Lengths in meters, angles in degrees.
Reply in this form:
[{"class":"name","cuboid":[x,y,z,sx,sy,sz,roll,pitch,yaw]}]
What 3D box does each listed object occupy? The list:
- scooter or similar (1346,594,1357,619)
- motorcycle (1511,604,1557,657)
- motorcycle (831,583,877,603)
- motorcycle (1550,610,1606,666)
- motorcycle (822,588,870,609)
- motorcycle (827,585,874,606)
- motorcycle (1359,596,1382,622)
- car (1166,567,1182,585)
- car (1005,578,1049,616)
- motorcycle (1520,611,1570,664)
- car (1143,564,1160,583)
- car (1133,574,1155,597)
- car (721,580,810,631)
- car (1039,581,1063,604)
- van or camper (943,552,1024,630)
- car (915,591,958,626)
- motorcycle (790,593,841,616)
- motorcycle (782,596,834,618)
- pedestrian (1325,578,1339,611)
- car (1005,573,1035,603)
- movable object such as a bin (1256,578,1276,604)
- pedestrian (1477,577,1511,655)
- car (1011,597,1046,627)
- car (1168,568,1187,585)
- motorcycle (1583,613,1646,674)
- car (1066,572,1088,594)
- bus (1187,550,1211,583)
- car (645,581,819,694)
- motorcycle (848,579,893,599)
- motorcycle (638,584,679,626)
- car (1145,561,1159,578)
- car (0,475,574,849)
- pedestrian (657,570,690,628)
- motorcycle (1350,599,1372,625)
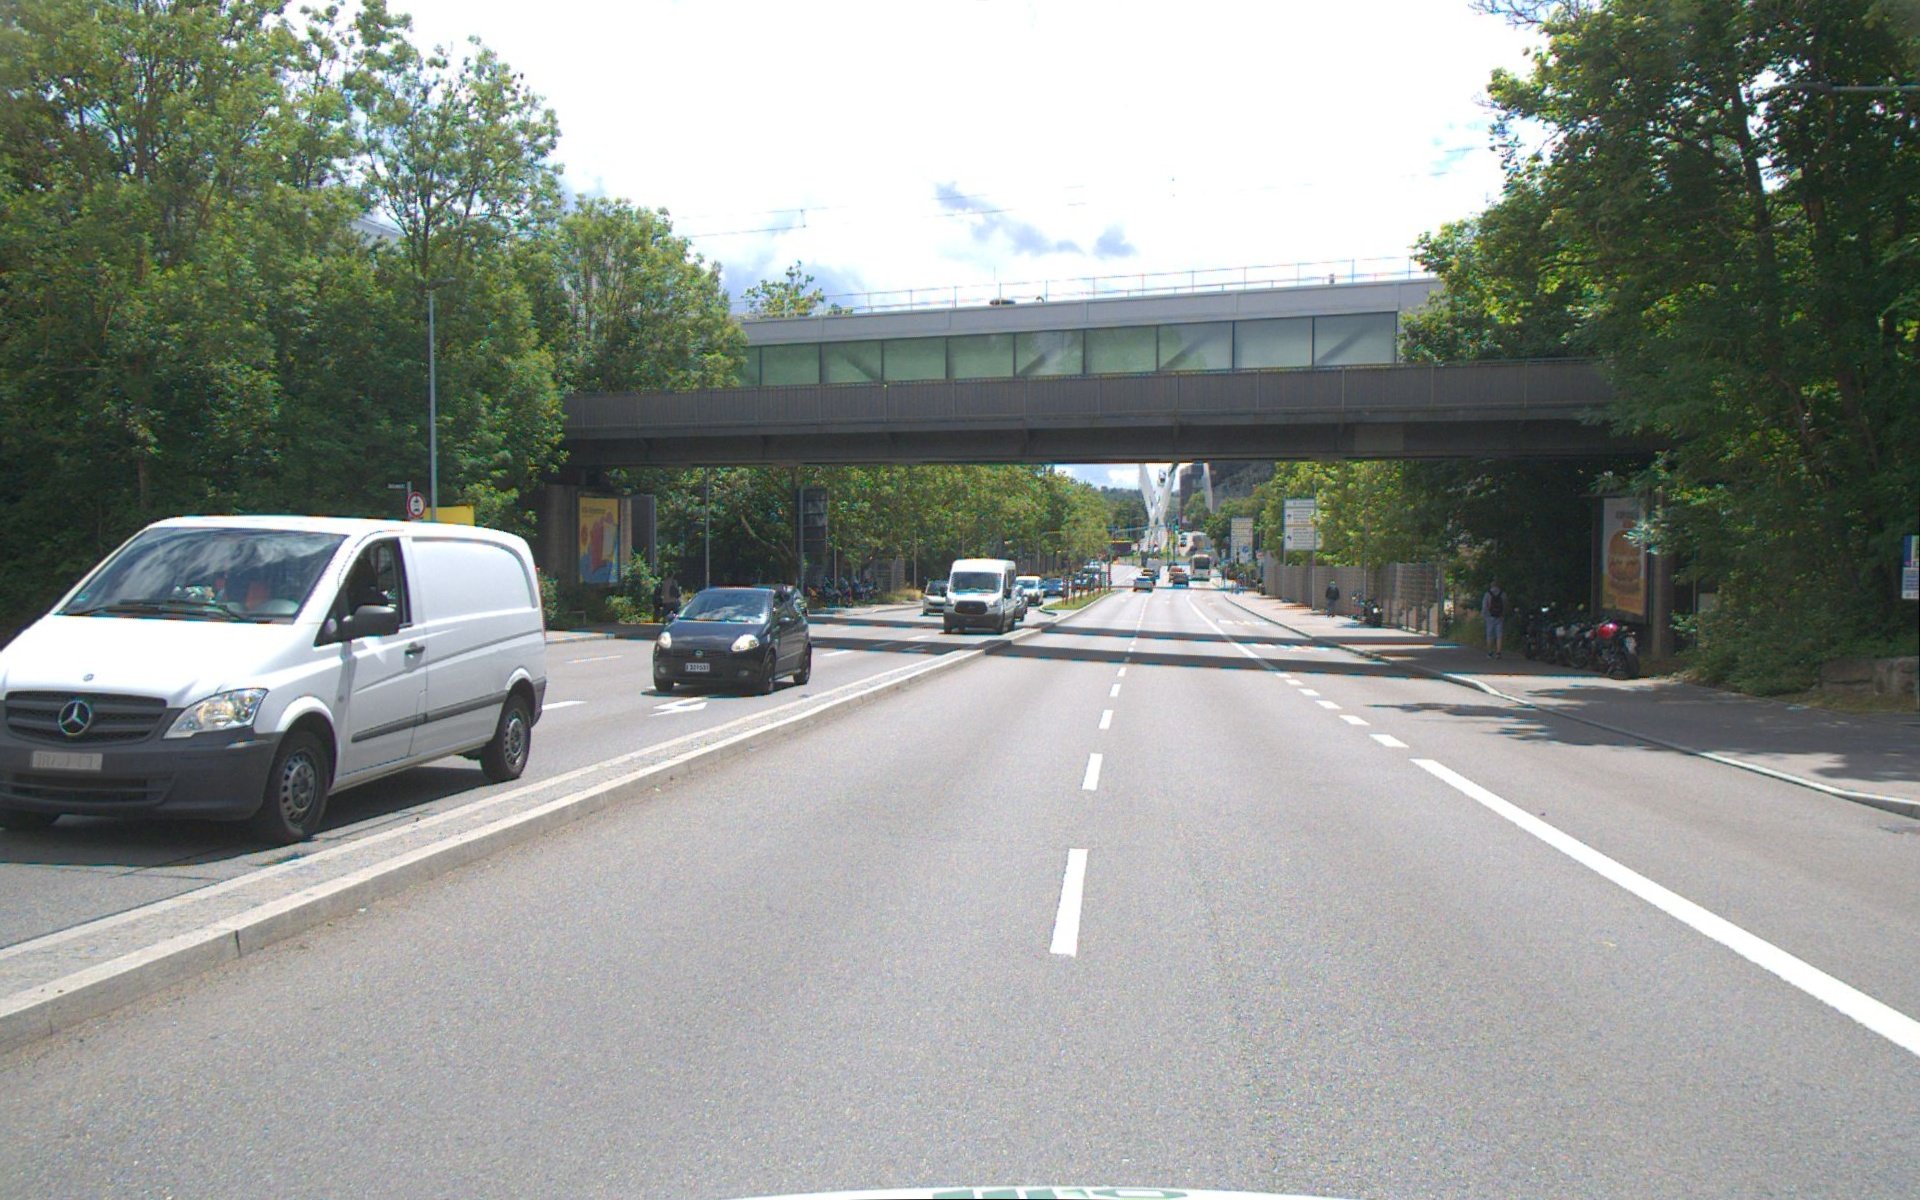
[{"class":"scooter or similar","cuboid":[18.720,0.295,79.054,0.361,1.197,1.134,1,0,6]},{"class":"motorcycle","cuboid":[13.635,0.711,39.307,0.535,1.219,1.904,0,0,4]},{"class":"motorcycle","cuboid":[-6.093,-0.392,95.314,2.523,1.126,0.795,1,0,19]},{"class":"motorcycle","cuboid":[12.926,0.782,34.624,0.535,1.130,2.019,0,0,4]},{"class":"motorcycle","cuboid":[-6.323,-0.100,91.787,2.523,1.126,0.795,1,0,19]},{"class":"motorcycle","cuboid":[-6.185,-0.246,93.550,2.523,1.126,0.795,1,0,19]},{"class":"motorcycle","cuboid":[17.148,0.363,69.151,0.551,1.047,2.631,-1,1,6]},{"class":"car","cuboid":[27.250,-3.073,210.421,1.951,2.047,4.006,1,5,8]},{"class":"car","cuboid":[2.904,-0.127,71.190,1.664,1.548,3.076,1,0,6]},{"class":"motorcycle","cuboid":[13.078,0.821,37.020,0.535,1.130,2.019,0,0,4]},{"class":"car","cuboid":[21.833,-3.036,188.247,1.818,1.734,4.006,0,6,5]},{"class":"car","cuboid":[17.430,-1.388,156.658,1.888,1.802,4.006,1,5,8]},{"class":"car","cuboid":[-6.019,0.188,51.721,1.694,1.481,4.561,1,0,7]},{"class":"car","cuboid":[7.108,-0.593,128.524,1.665,1.728,3.927,1,0,6]},{"class":"van or camper","cuboid":[0.863,-0.308,55.933,1.965,2.443,6.404,1,0,7]},{"class":"car","cuboid":[-1.070,0.380,77.146,1.665,1.578,3.926,1,0,3]},{"class":"motorcycle","cuboid":[-7.367,0.226,84.419,2.497,1.068,0.675,1,0,13]},{"class":"motorcycle","cuboid":[-7.651,0.345,83.262,2.497,1.068,0.675,1,0,13]},{"class":"pedestrian","cuboid":[19.076,-0.301,84.862,0.607,1.646,0.748,1,4,5]},{"class":"car","cuboid":[3.707,-0.746,101.805,1.665,1.728,3.926,1,0,4]},{"class":"movable object such as a bin","cuboid":[26.259,-0.800,141.891,1.629,2.170,1.279,1,0,12]},{"class":"pedestrian","cuboid":[13.263,0.397,41.069,0.609,1.891,0.873,0,-1,5]},{"class":"car","cuboid":[3.536,0.607,84.875,1.665,1.461,3.926,1,0,3]},{"class":"car","cuboid":[24.693,-2.696,187.640,1.951,1.892,4.003,1,1,6]},{"class":"motorcycle","cuboid":[12.681,0.822,32.107,0.535,1.130,2.019,0,0,4]},{"class":"car","cuboid":[11.154,-1.613,157.459,1.951,2.049,4.003,1,1,7]},{"class":"bus","cuboid":[32.369,-4.580,224.410,2.737,3.816,9.481,1,5,6]},{"class":"car","cuboid":[-3.256,0.488,24.320,1.602,1.496,3.779,1,1,7]},{"class":"motorcycle","cuboid":[-5.328,-0.638,98.313,2.523,1.126,0.795,1,0,19]},{"class":"motorcycle","cuboid":[-9.526,0.166,52.278,0.672,1.231,2.074,3,-1,6]},{"class":"car","cuboid":[26.510,-4.210,228.768,1.834,2.047,3.697,1,5,6]},{"class":"car","cuboid":[-4.358,0.289,11.199,1.837,1.958,4.754,1,1,7]},{"class":"pedestrian","cuboid":[-8.742,-0.042,50.561,0.709,1.650,0.721,5,4,5]},{"class":"motorcycle","cuboid":[17.476,0.518,72.080,0.551,1.047,2.631,-1,1,6]}]
